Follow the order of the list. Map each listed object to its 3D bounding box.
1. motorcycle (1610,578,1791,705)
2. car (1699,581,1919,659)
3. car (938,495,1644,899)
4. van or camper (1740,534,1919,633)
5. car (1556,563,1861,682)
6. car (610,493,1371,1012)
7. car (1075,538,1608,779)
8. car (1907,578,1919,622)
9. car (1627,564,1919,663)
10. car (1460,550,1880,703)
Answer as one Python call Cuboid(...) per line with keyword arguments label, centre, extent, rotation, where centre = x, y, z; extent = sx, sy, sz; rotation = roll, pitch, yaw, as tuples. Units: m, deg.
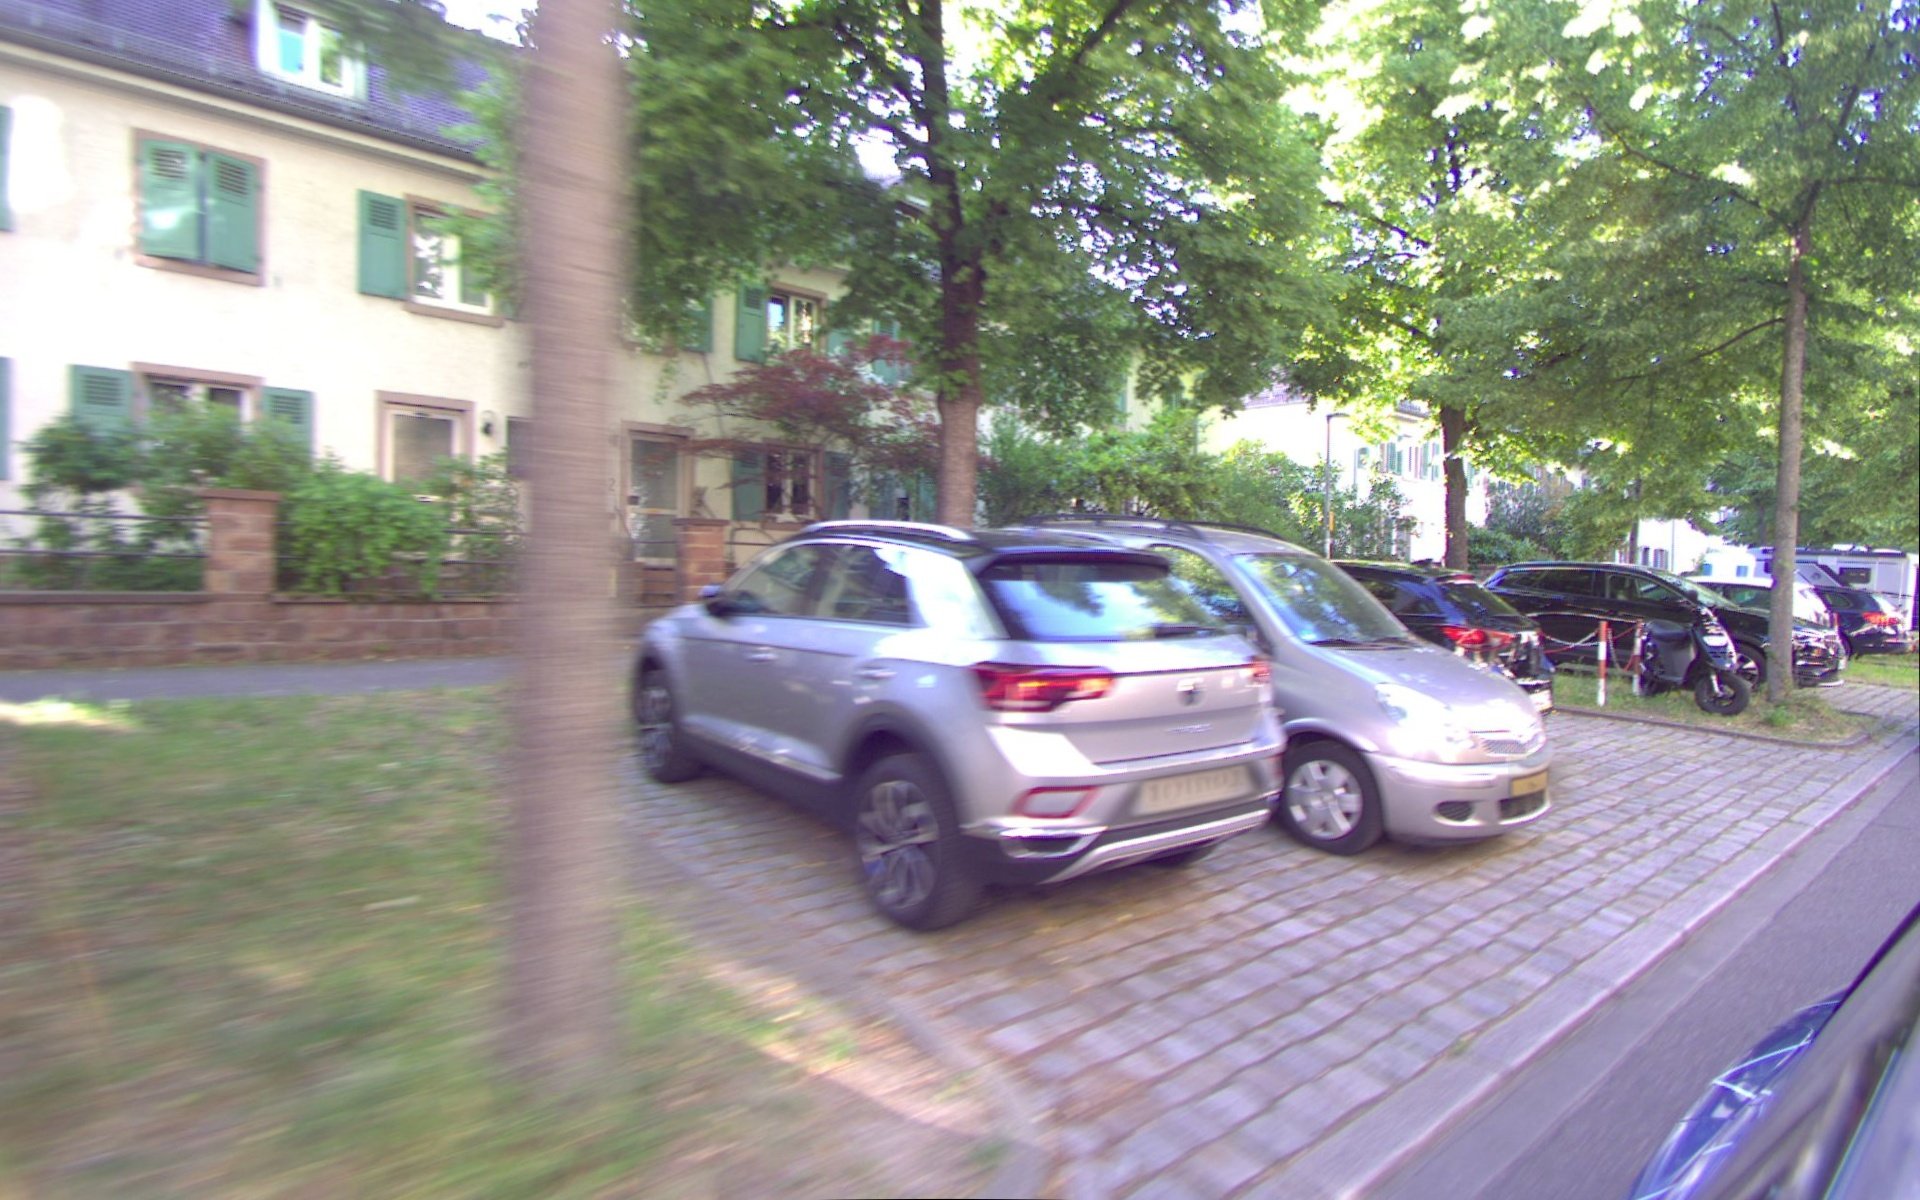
Cuboid(label="motorcycle", centre=(7.906, 0.393, 10.915), extent=(0.725, 1.212, 1.774), rotation=(1, 2, 5))
Cuboid(label="car", centre=(19.926, 0.380, 23.635), extent=(1.967, 1.537, 3.992), rotation=(-2, 3, -43))
Cuboid(label="car", centre=(1.769, 0.266, 6.474), extent=(1.699, 1.765, 3.925), rotation=(-1, 5, -40))
Cuboid(label="van or camper", centre=(28.946, -0.555, 31.304), extent=(2.385, 2.939, 7.264), rotation=(-2, 3, -40))
Cuboid(label="car", centre=(11.434, 0.250, 15.624), extent=(1.664, 1.493, 3.456), rotation=(0, 4, -40))
Cuboid(label="car", centre=(-0.236, 0.308, 5.310), extent=(1.868, 1.617, 3.976), rotation=(-1, 6, -37))
Cuboid(label="car", centre=(3.081, 0.293, 8.720), extent=(1.759, 1.490, 3.879), rotation=(-1, 5, -45))
Cuboid(label="car", centre=(41.759, 0.062, 41.519), extent=(1.964, 1.836, 3.996), rotation=(0, 2, -40))
Cuboid(label="car", centre=(15.921, 0.170, 19.753), extent=(1.721, 1.495, 4.471), rotation=(0, 5, -39))
Cuboid(label="car", centre=(9.532, 0.207, 13.890), extent=(1.895, 1.627, 4.342), rotation=(-1, 4, -41))
